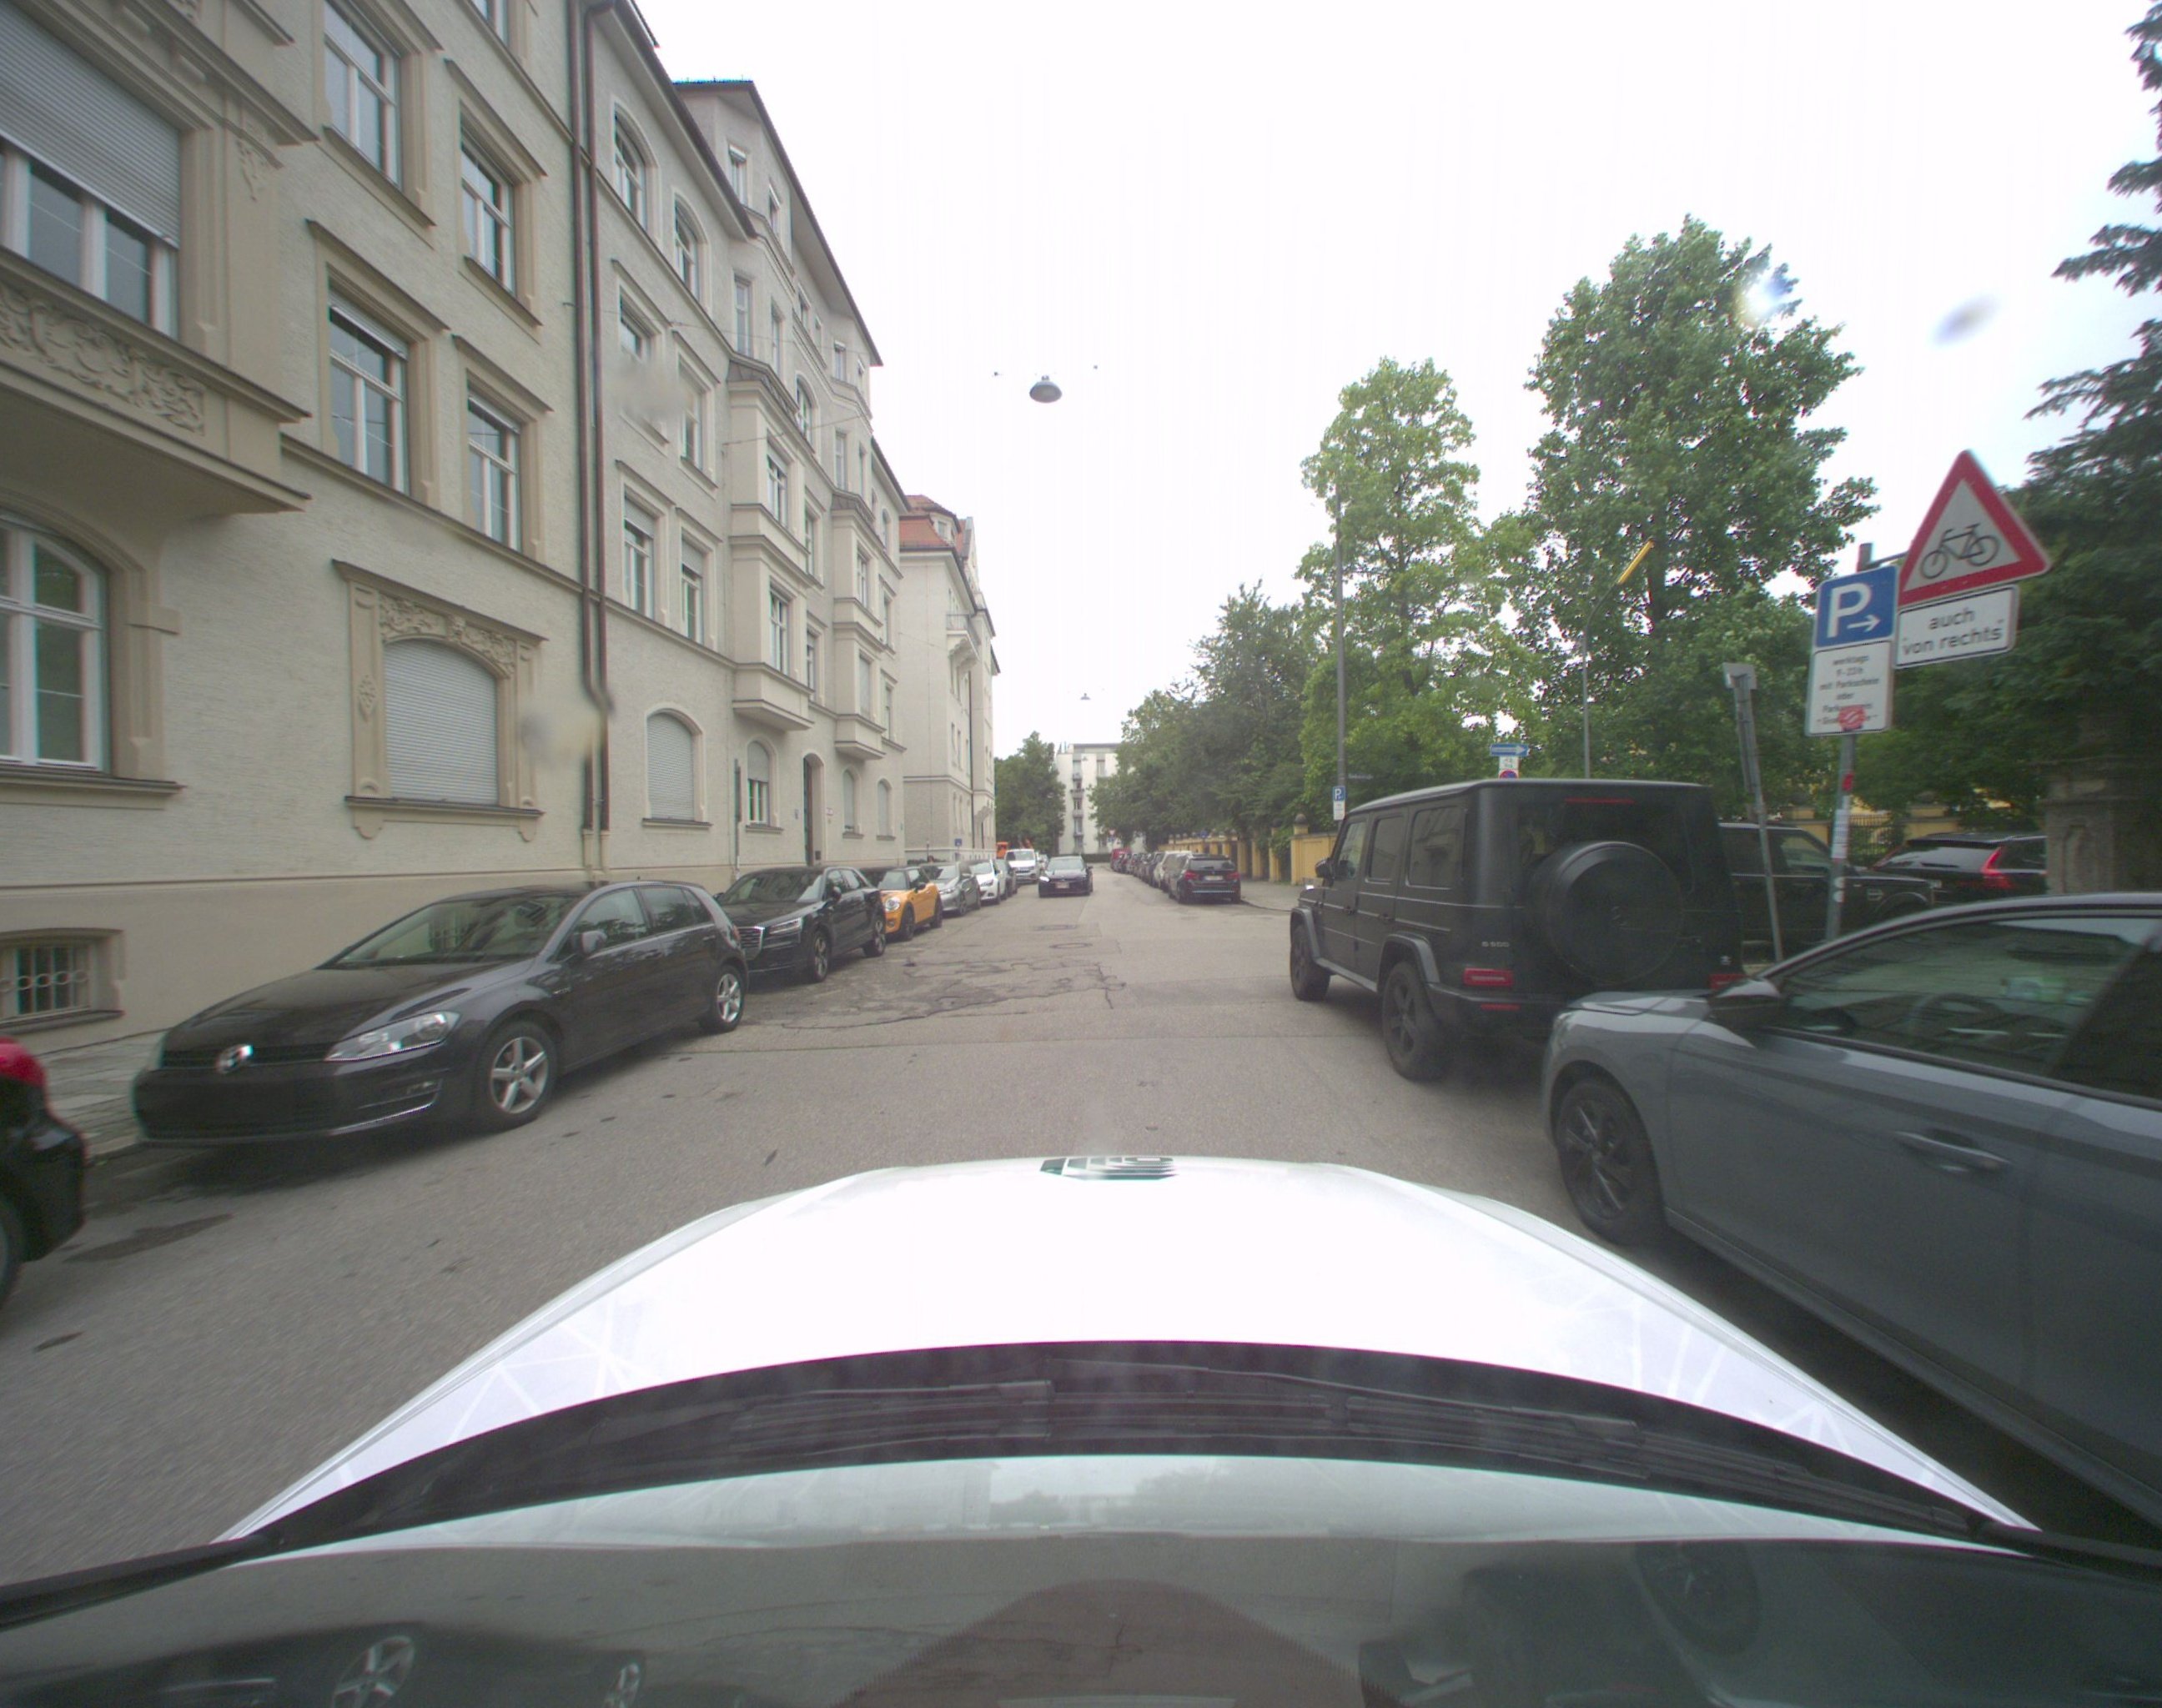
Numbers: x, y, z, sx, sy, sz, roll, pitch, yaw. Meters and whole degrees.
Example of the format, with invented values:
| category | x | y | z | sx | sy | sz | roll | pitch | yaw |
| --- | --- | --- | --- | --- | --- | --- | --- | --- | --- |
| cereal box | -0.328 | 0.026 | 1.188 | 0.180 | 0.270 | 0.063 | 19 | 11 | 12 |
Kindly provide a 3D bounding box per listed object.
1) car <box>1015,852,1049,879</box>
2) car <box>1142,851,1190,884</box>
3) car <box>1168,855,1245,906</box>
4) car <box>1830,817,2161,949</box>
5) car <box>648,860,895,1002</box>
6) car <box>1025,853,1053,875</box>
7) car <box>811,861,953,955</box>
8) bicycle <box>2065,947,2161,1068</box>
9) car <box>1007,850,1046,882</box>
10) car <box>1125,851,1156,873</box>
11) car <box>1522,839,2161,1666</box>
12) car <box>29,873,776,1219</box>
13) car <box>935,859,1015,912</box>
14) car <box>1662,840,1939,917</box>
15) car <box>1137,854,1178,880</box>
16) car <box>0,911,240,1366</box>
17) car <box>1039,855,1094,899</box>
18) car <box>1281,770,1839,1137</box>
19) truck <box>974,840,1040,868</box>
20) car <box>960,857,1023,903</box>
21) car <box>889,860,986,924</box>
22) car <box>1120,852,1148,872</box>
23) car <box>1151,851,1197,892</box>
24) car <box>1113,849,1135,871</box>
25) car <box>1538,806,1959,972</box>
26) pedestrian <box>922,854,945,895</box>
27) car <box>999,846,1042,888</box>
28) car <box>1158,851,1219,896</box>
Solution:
| category | x | y | z | sx | sy | sz | roll | pitch | yaw |
| --- | --- | --- | --- | --- | --- | --- | --- | --- | --- |
| car | -3.399 | 0.776 | 57.674 | 2.009 | 1.726 | 4.274 | -4 | 0 | 0 |
| car | 4.129 | 0.647 | 40.104 | 1.833 | 1.551 | 3.945 | 0 | 0 | -2 |
| car | 3.725 | 0.750 | 24.841 | 1.831 | 1.413 | 4.344 | 0 | 0 | 2 |
| car | 14.075 | 0.346 | 12.130 | 4.229 | 1.649 | 1.961 | -2 | 2 | -5 |
| car | -4.117 | 0.932 | 11.635 | 1.746 | 1.499 | 4.022 | -4 | 0 | 3 |
| car | -3.534 | 0.836 | 69.408 | 2.008 | 1.634 | 4.413 | -4 | 0 | 0 |
| car | -3.927 | 1.001 | 16.751 | 1.633 | 1.499 | 3.975 | -4 | 0 | 3 |
| bicycle | 7.019 | 0.991 | 5.048 | 0.510 | 0.683 | 1.124 | -2 | 0 | 3 |
| car | -3.431 | 0.738 | 51.867 | 2.008 | 1.771 | 4.413 | -4 | 0 | 0 |
| car | 4.305 | 0.560 | 59.354 | 1.833 | 1.519 | 3.945 | 0 | 0 | -2 |
| car | 2.859 | 0.749 | 1.898 | 1.717 | 1.518 | 3.630 | 1 | 0 | 0 |
| car | -4.154 | 1.003 | 6.138 | 1.829 | 1.435 | 4.248 | -4 | 0 | 3 |
| car | -3.432 | 0.989 | 27.216 | 1.829 | 1.438 | 4.278 | -4 | 0 | 3 |
| car | 15.852 | 0.522 | 18.106 | 4.583 | 1.482 | 1.920 | -2 | -1 | -4 |
| car | 4.232 | 0.701 | 45.351 | 1.833 | 1.346 | 3.945 | 0 | 0 | -2 |
| car | -4.526 | 1.031 | 1.140 | 1.827 | 1.434 | 4.554 | -3 | 1 | 1 |
| car | -0.513 | 0.808 | 30.651 | 1.868 | 1.428 | 4.408 | -2 | 0 | 0 |
| car | 3.108 | 0.482 | 6.665 | 1.943 | 1.954 | 4.668 | 0 | 1 | 2 |
| truck | -9.298 | 0.003 | 102.069 | 7.715 | 3.241 | 2.872 | -2 | 0 | -28 |
| car | -3.446 | 0.971 | 32.036 | 1.830 | 1.499 | 4.275 | -4 | 0 | 1 |
| car | -3.812 | 0.964 | 22.327 | 1.719 | 1.499 | 3.933 | -3 | 0 | 3 |
| car | 4.068 | 0.609 | 63.318 | 1.833 | 1.519 | 3.945 | 0 | 0 | -2 |
| car | 3.902 | 0.704 | 34.593 | 1.509 | 1.661 | 3.673 | 0 | 0 | 0 |
| car | 3.991 | 0.505 | 75.186 | 1.828 | 1.926 | 4.009 | 1 | 1 | 4 |
| car | 9.157 | 0.400 | 11.400 | 4.521 | 1.950 | 1.901 | -2 | 2 | -5 |
| pedestrian | -6.188 | 0.863 | 34.165 | 0.789 | 1.679 | 0.700 | -2 | 0 | 1 |
| car | -3.314 | 0.666 | 45.731 | 1.880 | 2.127 | 4.706 | -4 | 0 | 0 |
| car | 3.867 | 0.678 | 29.861 | 1.648 | 1.519 | 3.792 | 0 | 0 | -1 |
